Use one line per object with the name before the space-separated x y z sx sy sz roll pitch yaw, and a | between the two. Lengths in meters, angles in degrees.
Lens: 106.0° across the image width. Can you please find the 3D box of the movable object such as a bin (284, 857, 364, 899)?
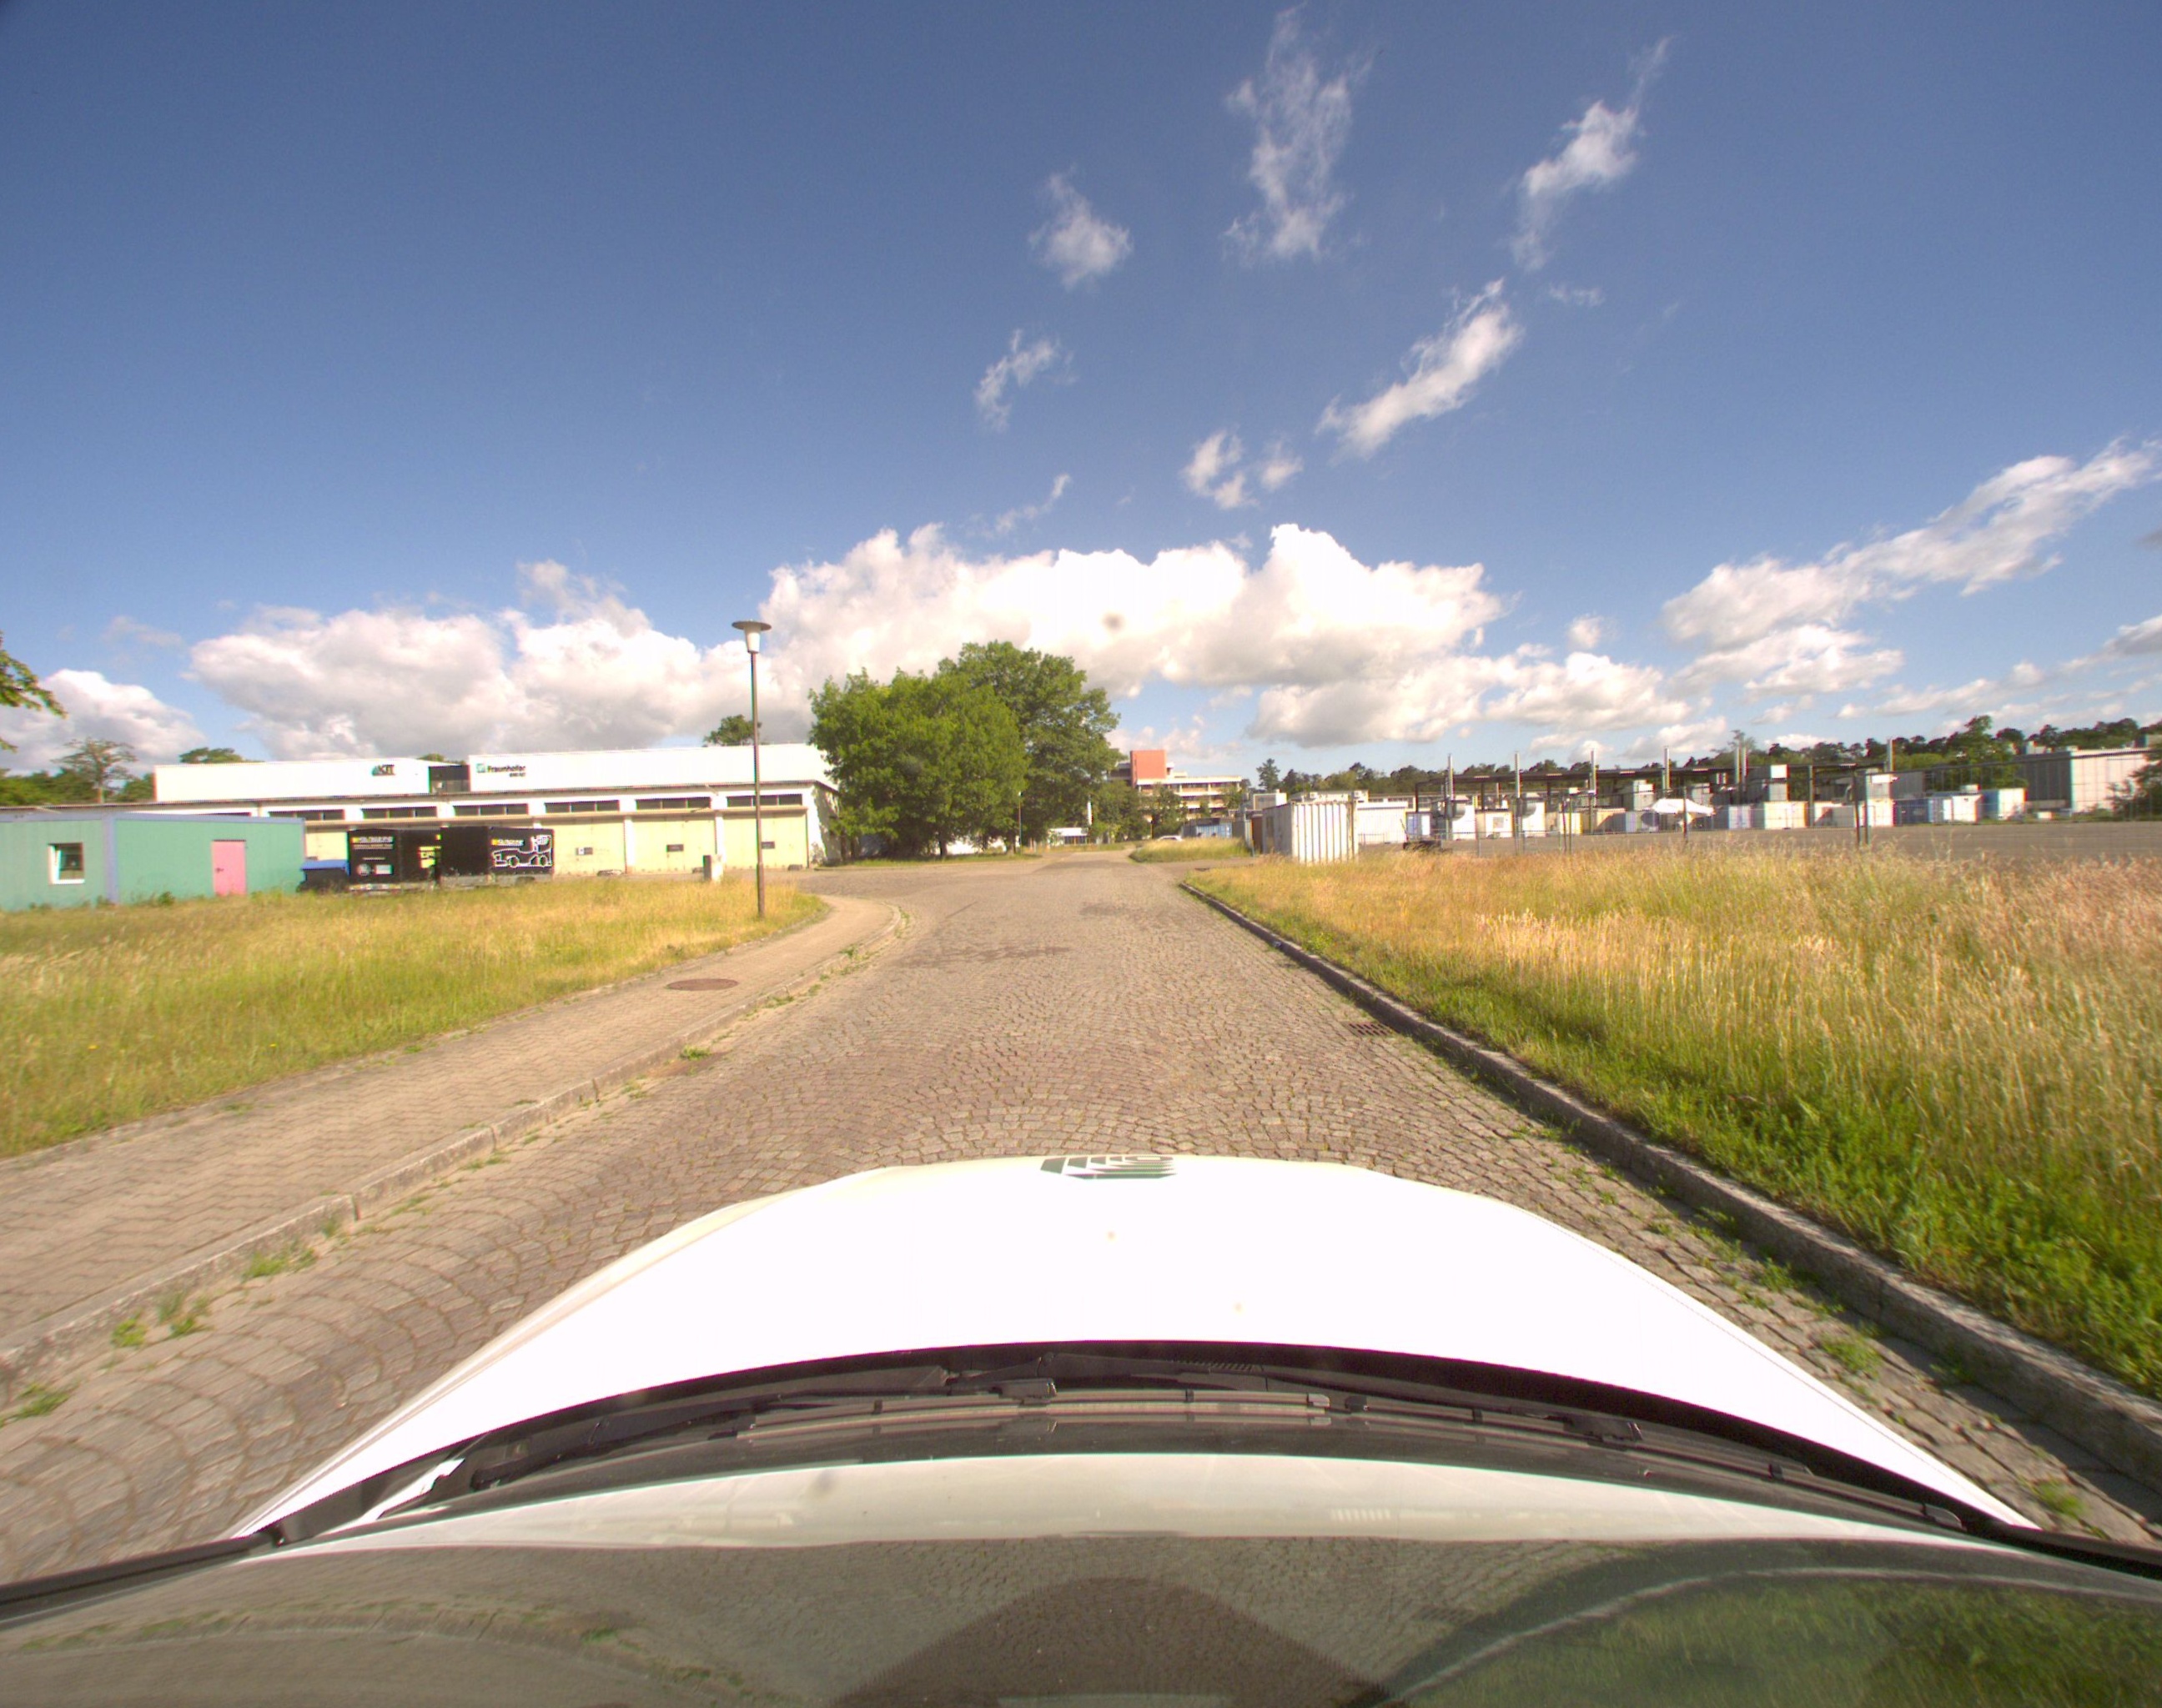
movable object such as a bin | -27.081 0.838 29.187 1.531 1.386 1.381 -2 1 -11

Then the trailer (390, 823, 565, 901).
trailer | -19.869 0.206 27.140 2.121 2.297 4.674 -2 1 3

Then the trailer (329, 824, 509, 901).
trailer | -22.175 0.219 27.623 2.083 2.354 4.972 -1 1 -2

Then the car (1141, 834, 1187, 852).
car | 8.483 -1.173 83.958 4.490 1.647 2.000 -2 1 -1
